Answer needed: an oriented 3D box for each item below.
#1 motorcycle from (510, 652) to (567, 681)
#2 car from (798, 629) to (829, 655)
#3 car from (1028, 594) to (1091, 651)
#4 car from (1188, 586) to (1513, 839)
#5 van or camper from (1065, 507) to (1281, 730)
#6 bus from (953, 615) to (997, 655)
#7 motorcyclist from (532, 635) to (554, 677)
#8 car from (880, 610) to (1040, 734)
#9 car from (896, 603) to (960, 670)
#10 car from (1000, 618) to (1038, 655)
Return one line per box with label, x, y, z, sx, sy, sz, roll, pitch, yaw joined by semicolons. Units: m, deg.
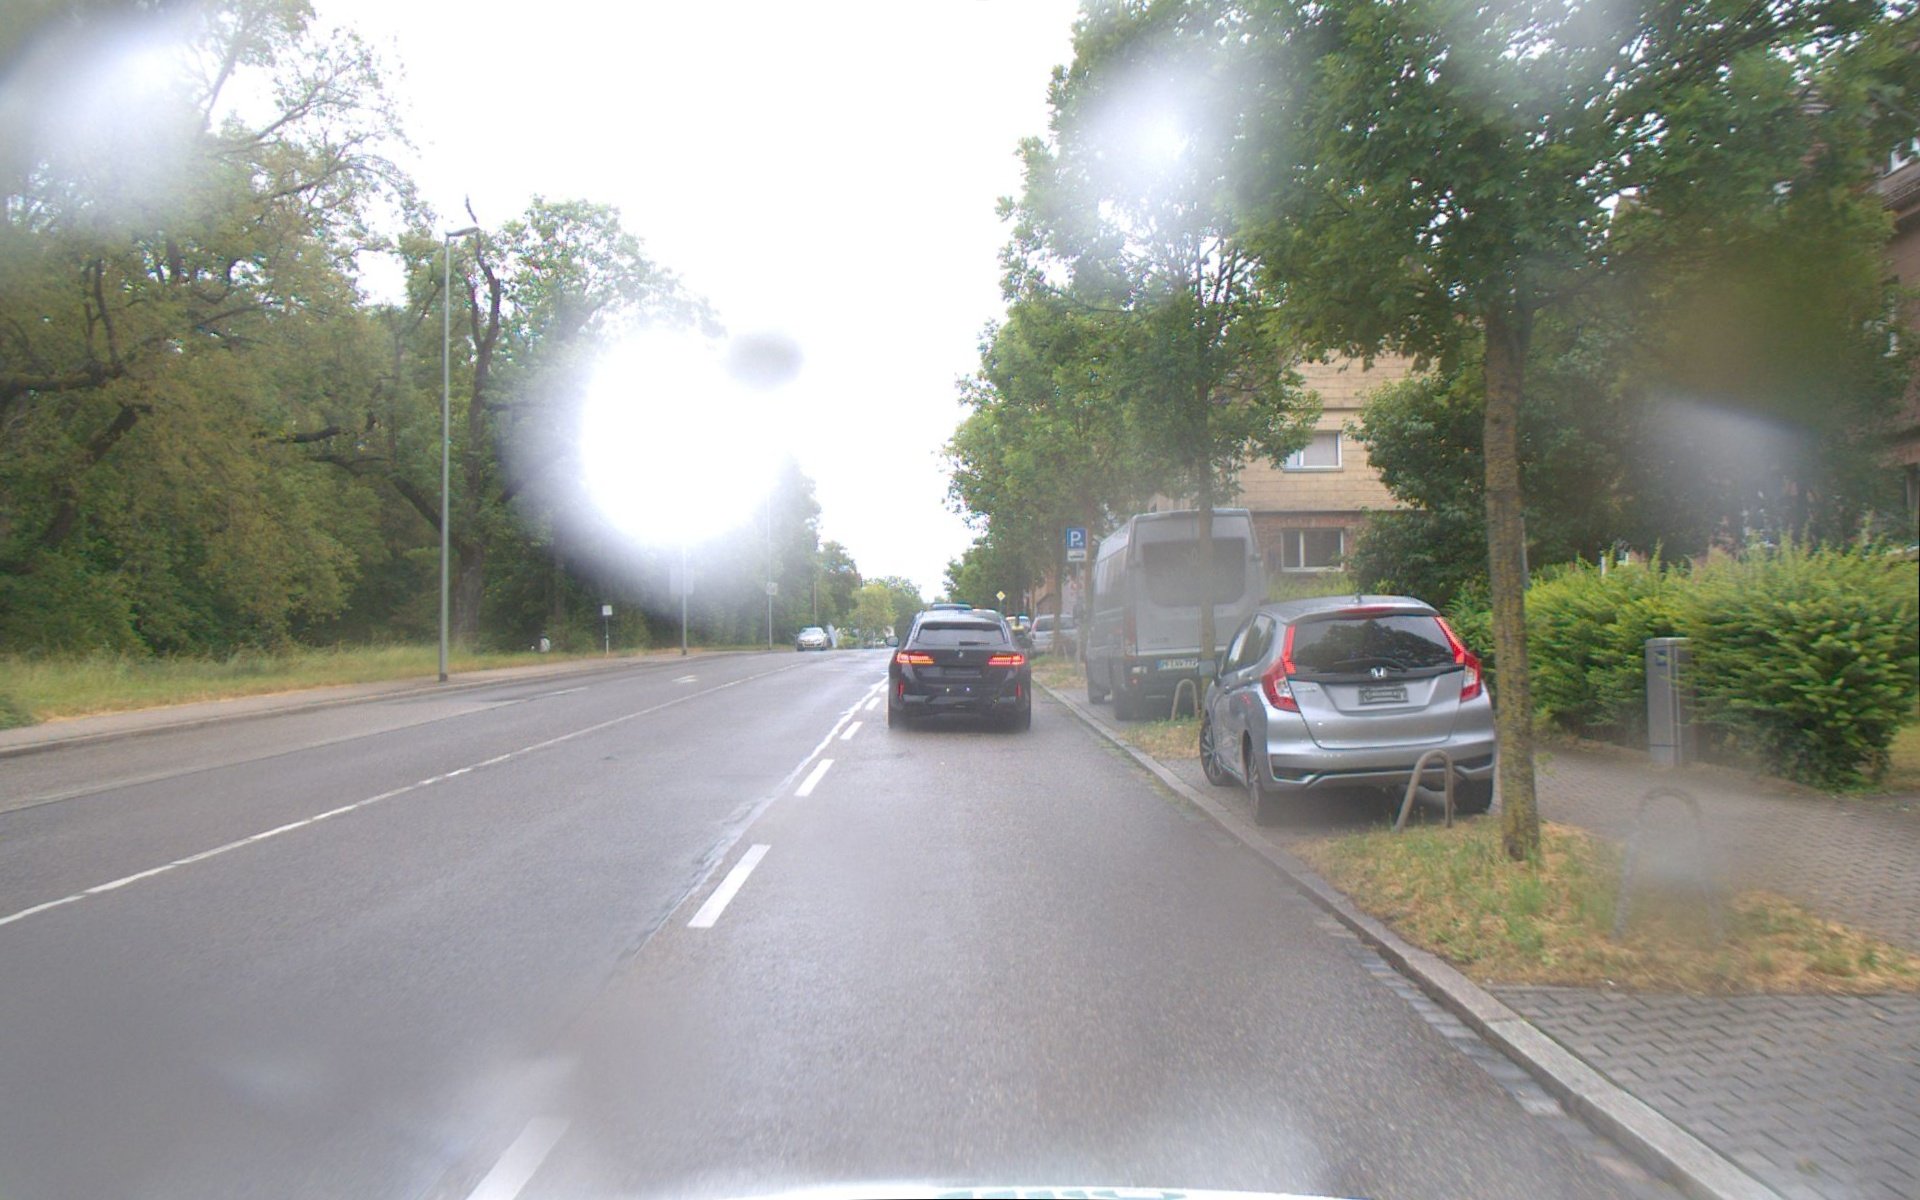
motorcycle;-17.315;2.712;67.963;2.135;1.137;0.824;1;-1;6
car;-9.237;2.647;104.640;1.656;1.509;4.449;-3;-1;-2
car;3.107;0.693;52.382;1.667;1.612;4.643;-4;0;1
car;2.825;0.758;12.764;1.634;1.555;3.832;-4;-1;2
van or camper;2.902;0.251;24.392;2.153;2.697;7.301;-2;0;0
bus;1.212;2.633;126.307;2.568;2.897;8.293;-2;-1;5
motorcyclist;-17.134;2.295;67.949;0.635;1.710;0.814;1;-1;6
car;-0.034;0.937;22.590;1.953;1.478;3.999;2;-1;-1
car;-0.977;1.163;52.728;1.953;2.049;3.999;0;-1;0
car;2.977;1.838;83.985;1.786;1.803;4.540;-2;-1;1
